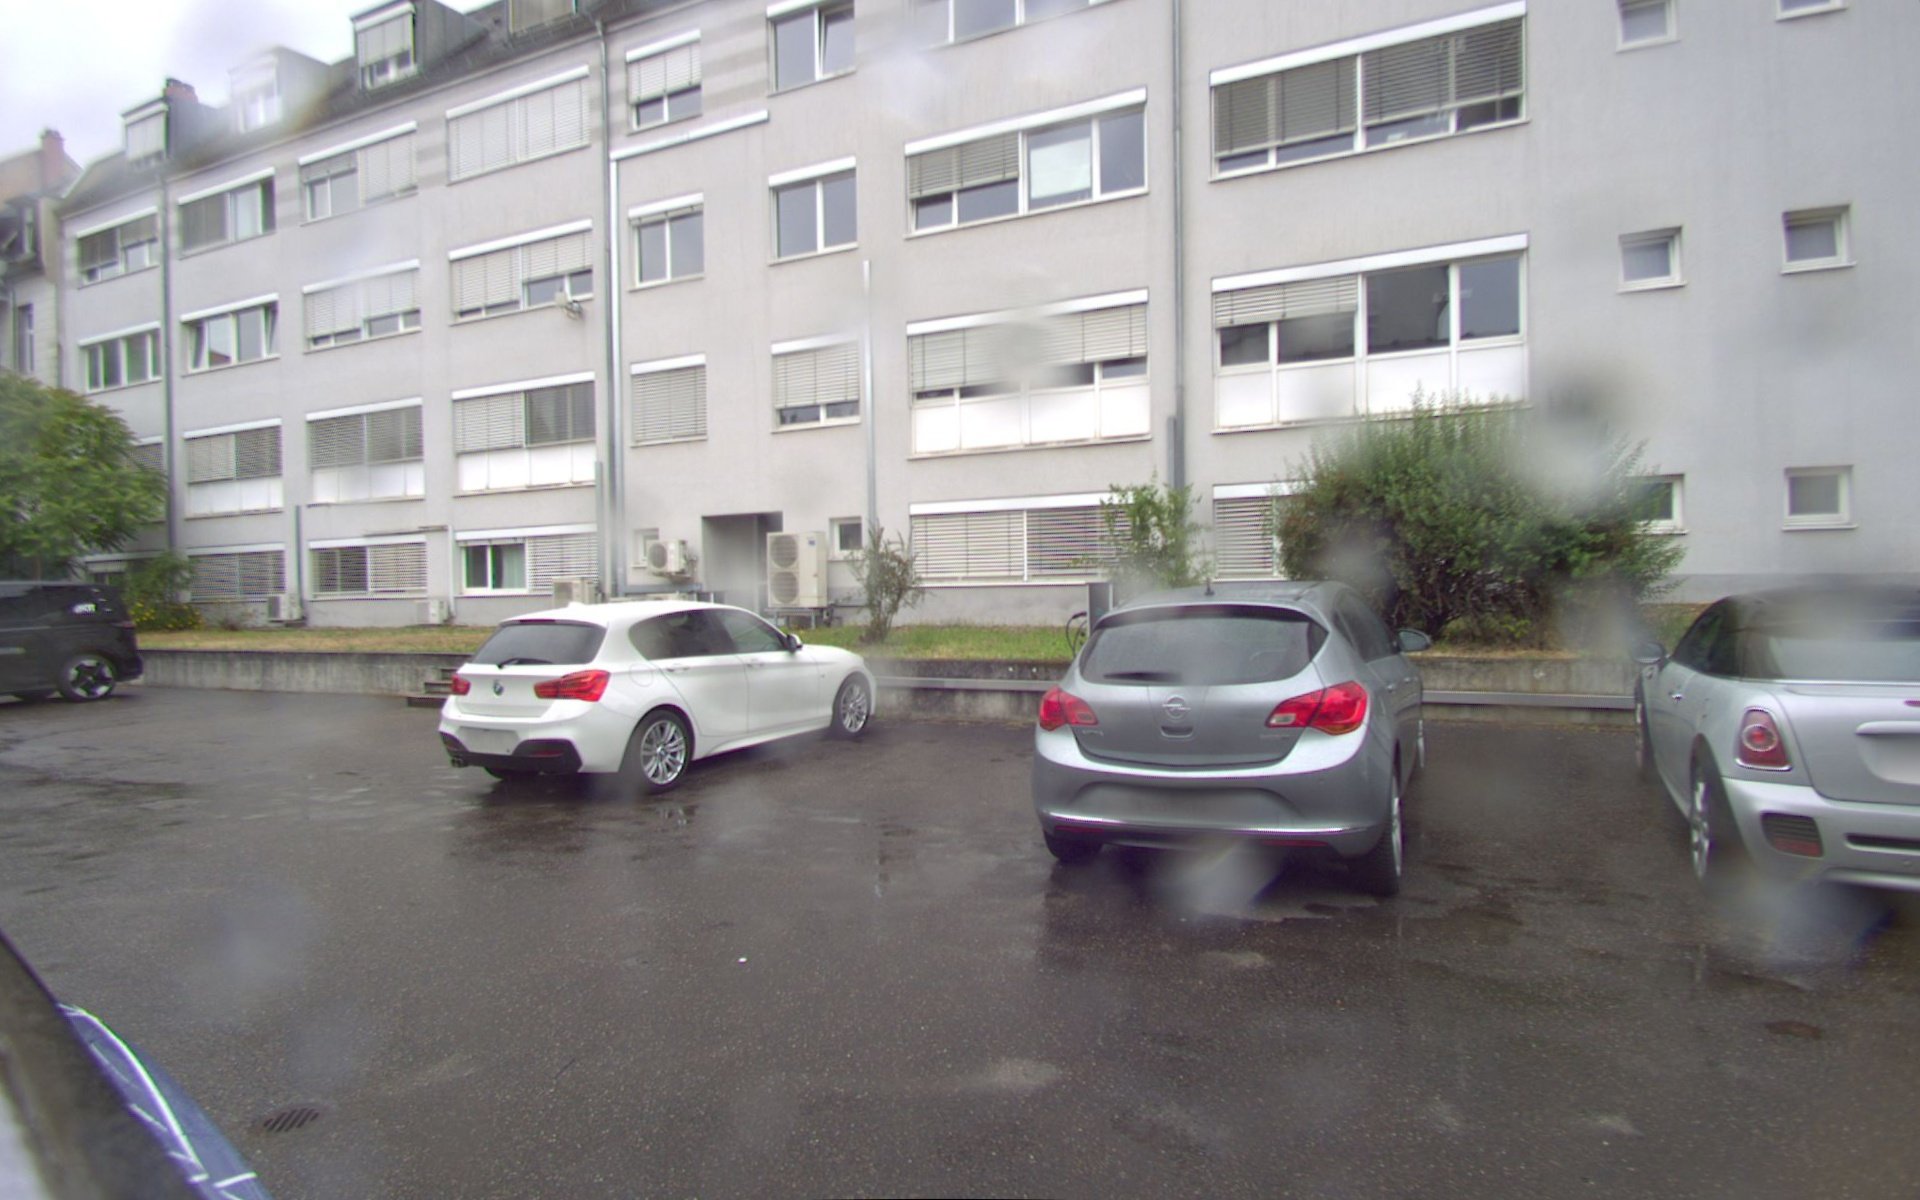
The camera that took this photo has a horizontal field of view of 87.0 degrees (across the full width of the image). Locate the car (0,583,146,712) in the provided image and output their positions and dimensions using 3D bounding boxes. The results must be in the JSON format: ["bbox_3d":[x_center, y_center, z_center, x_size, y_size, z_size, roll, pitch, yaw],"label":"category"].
[{"bbox_3d":[-14.988,0.744,14.633,1.976,1.850,4.595,-2,0,24],"label":"car"}]

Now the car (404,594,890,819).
[{"bbox_3d":[-2.411,0.696,8.922,1.744,1.444,4.116,0,1,26],"label":"car"}]

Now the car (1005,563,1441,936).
[{"bbox_3d":[1.954,0.588,6.322,1.813,1.495,4.142,-2,0,26],"label":"car"}]

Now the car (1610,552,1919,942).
[{"bbox_3d":[4.839,0.492,5.486,1.813,1.343,4.141,-2,3,28],"label":"car"}]
